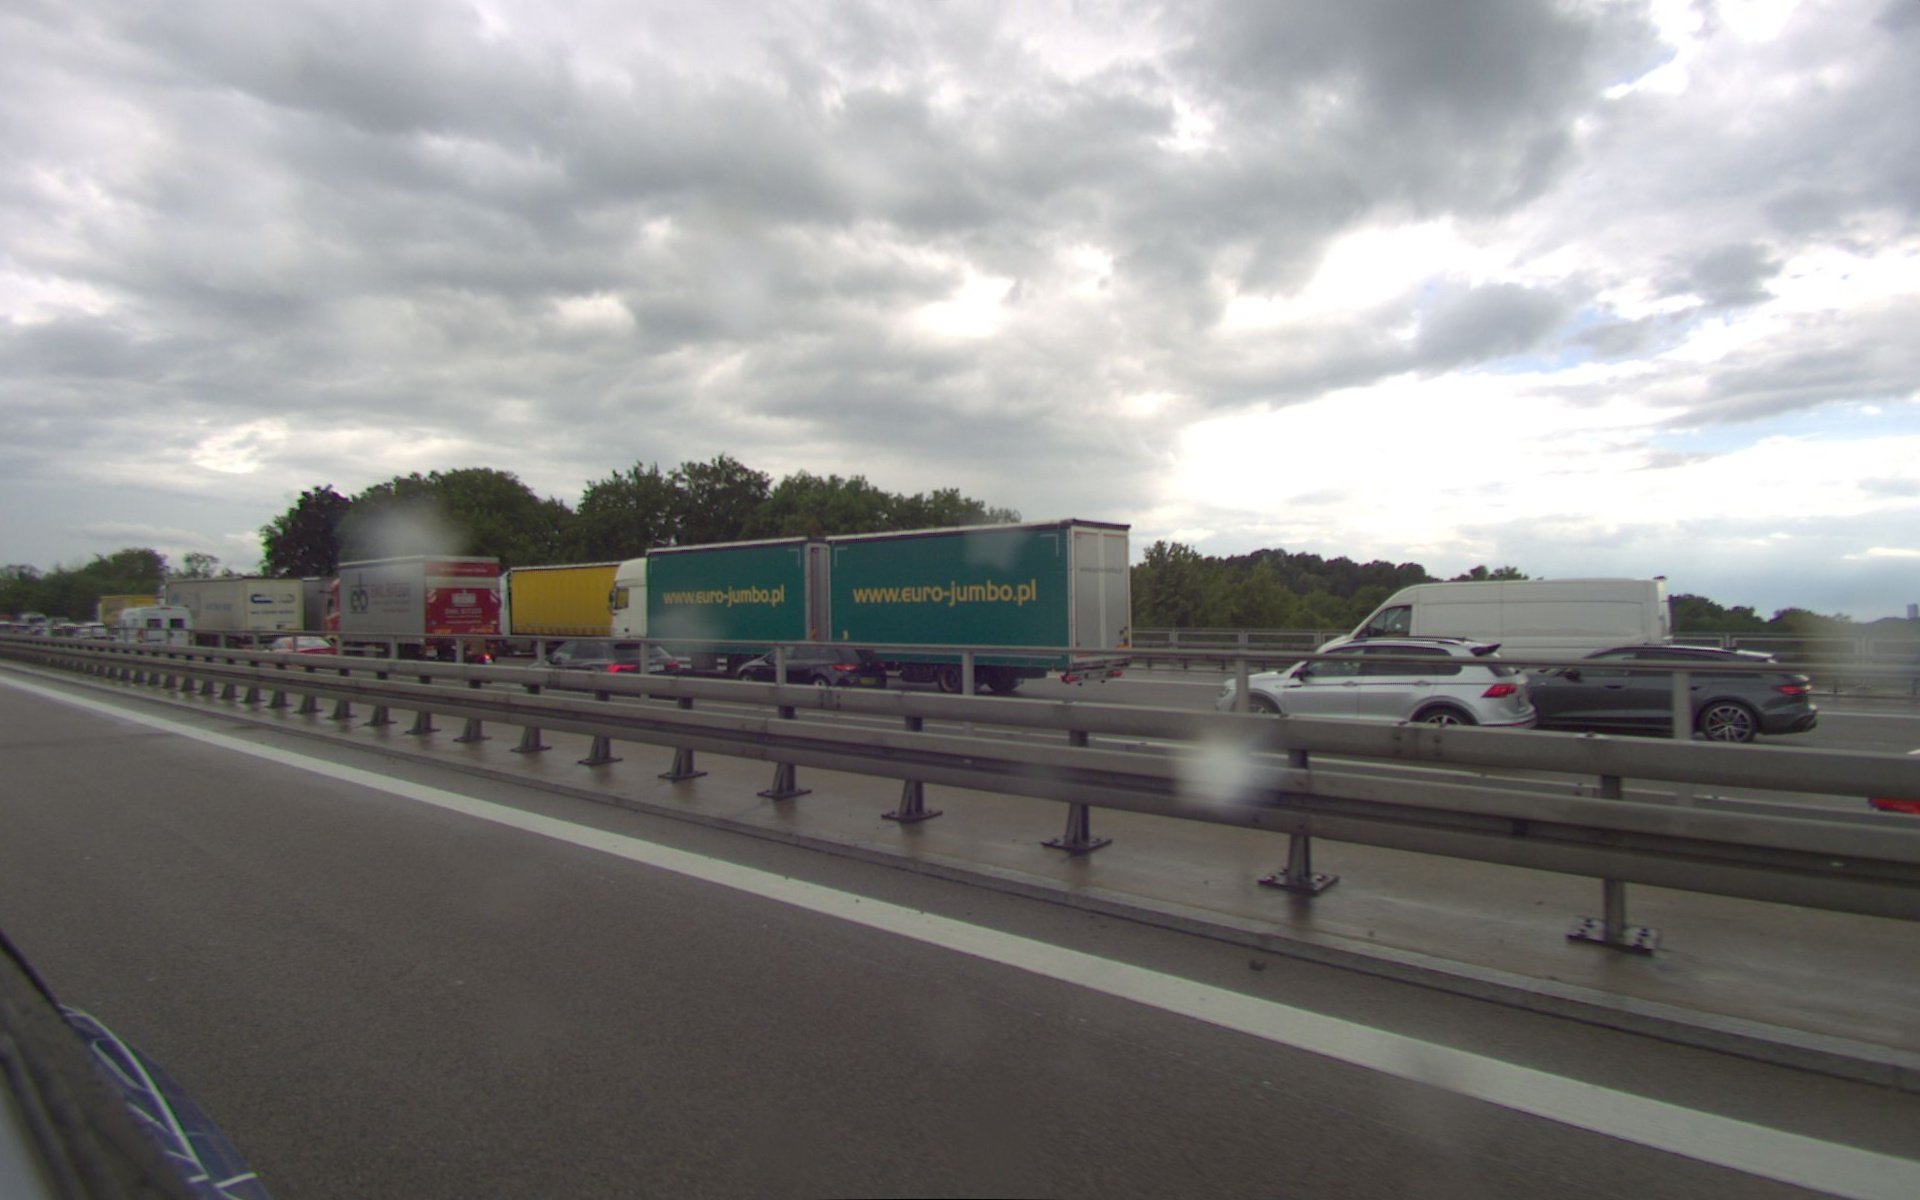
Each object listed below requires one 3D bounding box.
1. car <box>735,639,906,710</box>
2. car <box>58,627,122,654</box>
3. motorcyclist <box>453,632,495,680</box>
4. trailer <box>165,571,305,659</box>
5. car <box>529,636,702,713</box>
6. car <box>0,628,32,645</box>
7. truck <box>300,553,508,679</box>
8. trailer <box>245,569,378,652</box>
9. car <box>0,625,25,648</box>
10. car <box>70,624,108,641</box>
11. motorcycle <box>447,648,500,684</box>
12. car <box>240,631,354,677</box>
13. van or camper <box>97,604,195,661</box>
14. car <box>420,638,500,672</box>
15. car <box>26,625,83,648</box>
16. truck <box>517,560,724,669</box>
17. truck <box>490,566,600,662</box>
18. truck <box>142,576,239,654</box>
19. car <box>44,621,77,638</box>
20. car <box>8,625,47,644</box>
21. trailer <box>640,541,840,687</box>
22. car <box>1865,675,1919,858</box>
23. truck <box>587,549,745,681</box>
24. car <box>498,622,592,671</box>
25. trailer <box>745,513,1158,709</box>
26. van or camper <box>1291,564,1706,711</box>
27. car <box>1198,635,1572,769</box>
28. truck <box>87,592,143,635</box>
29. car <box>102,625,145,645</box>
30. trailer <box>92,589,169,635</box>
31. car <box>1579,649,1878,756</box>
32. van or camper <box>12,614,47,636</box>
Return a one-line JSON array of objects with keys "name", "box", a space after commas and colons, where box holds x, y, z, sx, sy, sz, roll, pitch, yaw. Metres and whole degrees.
[{"name": "car", "box": [-3.314, 1.668, 23.672, 3.998, 1.463, 1.812, -1, -2, 41]}, {"name": "car", "box": [-49.291, 2.274, 57.313, 5.160, 1.429, 1.903, -1, -2, 40]}, {"name": "motorcyclist", "box": [-14.081, 1.595, 29.317, 1.029, 1.351, 0.720, -1, -2, 41]}, {"name": "trailer", "box": [-38.342, 0.836, 53.223, 13.017, 4.177, 2.851, -1, -2, 40]}, {"name": "car", "box": [-7.537, 1.546, 21.959, 3.998, 1.463, 1.812, -1, -2, 41]}, {"name": "car", "box": [-90.205, 3.455, 96.365, 5.212, 1.491, 1.792, -1, -2, 37]}, {"name": "truck", "box": [-21.618, 0.639, 38.809, 12.517, 4.180, 2.952, -1, -2, 42]}, {"name": "trailer", "box": [-36.575, 0.641, 56.709, 13.023, 4.177, 2.850, -1, -2, 42]}, {"name": "car", "box": [-76.133, 2.897, 80.491, 5.327, 1.780, 1.894, -1, -2, 40]}, {"name": "car", "box": [-77.832, 2.885, 90.442, 4.412, 1.490, 1.731, -1, -2, 38]}, {"name": "motorcycle", "box": [-14.108, 1.909, 29.327, 1.788, 0.973, 0.726, -1, -2, 41]}, {"name": "car", "box": [-22.851, 1.801, 34.798, 5.007, 1.429, 1.903, -1, -2, 40]}, {"name": "van or camper", "box": [-38.746, 1.518, 48.088, 7.296, 2.515, 2.255, -1, -2, 40]}, {"name": "car", "box": [-21.672, 2.358, 43.817, 4.191, 1.354, 1.582, -1, -2, 40]}, {"name": "car", "box": [-58.861, 2.356, 65.722, 5.454, 1.397, 1.994, -1, -2, 40]}, {"name": "truck", "box": [-14.463, 0.642, 42.293, 11.687, 4.012, 2.692, -1, -2, 41]}, {"name": "truck", "box": [-18.991, 0.645, 46.210, 5.106, 4.100, 2.674, -1, -1, 41]}, {"name": "truck", "box": [-44.435, 0.905, 58.360, 7.550, 4.212, 2.851, -1, -2, 40]}, {"name": "car", "box": [-107.925, 3.497, 121.405, 5.404, 2.029, 1.975, -1, -1, 38]}, {"name": "car", "box": [-79.555, 2.934, 86.319, 4.412, 1.589, 1.731, -1, -2, 38]}, {"name": "trailer", "box": [-6.895, 0.426, 31.244, 6.310, 4.059, 2.806, -1, 0, 41]}, {"name": "car", "box": [9.459, 1.317, 7.242, 4.382, 1.364, 1.556, -1, -2, 41]}, {"name": "truck", "box": [-9.867, 0.483, 33.814, 4.960, 4.059, 2.816, -1, 0, 41]}, {"name": "car", "box": [-16.802, 1.819, 40.911, 3.999, 1.844, 1.972, -1, -1, 42]}, {"name": "trailer", "box": [-0.780, 0.295, 25.940, 11.596, 4.092, 2.789, -1, 0, 41]}, {"name": "van or camper", "box": [10.938, 0.723, 21.150, 7.358, 2.598, 2.220, -1, -1, 40]}, {"name": "car", "box": [6.084, 1.355, 14.859, 4.774, 1.637, 1.746, -1, -2, 38]}, {"name": "truck", "box": [-86.523, 1.377, 103.599, 6.876, 4.282, 3.215, -1, -2, 40]}, {"name": "car", "box": [-58.298, 2.421, 70.486, 4.097, 1.397, 1.585, -1, -2, 40]}, {"name": "trailer", "box": [-81.830, 1.270, 99.639, 14.497, 4.260, 3.215, -1, -2, 40]}, {"name": "car", "box": [11.476, 1.460, 15.261, 3.430, 1.343, 1.556, -1, -2, 41]}, {"name": "van or camper", "box": [-121.687, 3.225, 132.361, 7.220, 2.786, 2.181, -1, -2, 38]}]
